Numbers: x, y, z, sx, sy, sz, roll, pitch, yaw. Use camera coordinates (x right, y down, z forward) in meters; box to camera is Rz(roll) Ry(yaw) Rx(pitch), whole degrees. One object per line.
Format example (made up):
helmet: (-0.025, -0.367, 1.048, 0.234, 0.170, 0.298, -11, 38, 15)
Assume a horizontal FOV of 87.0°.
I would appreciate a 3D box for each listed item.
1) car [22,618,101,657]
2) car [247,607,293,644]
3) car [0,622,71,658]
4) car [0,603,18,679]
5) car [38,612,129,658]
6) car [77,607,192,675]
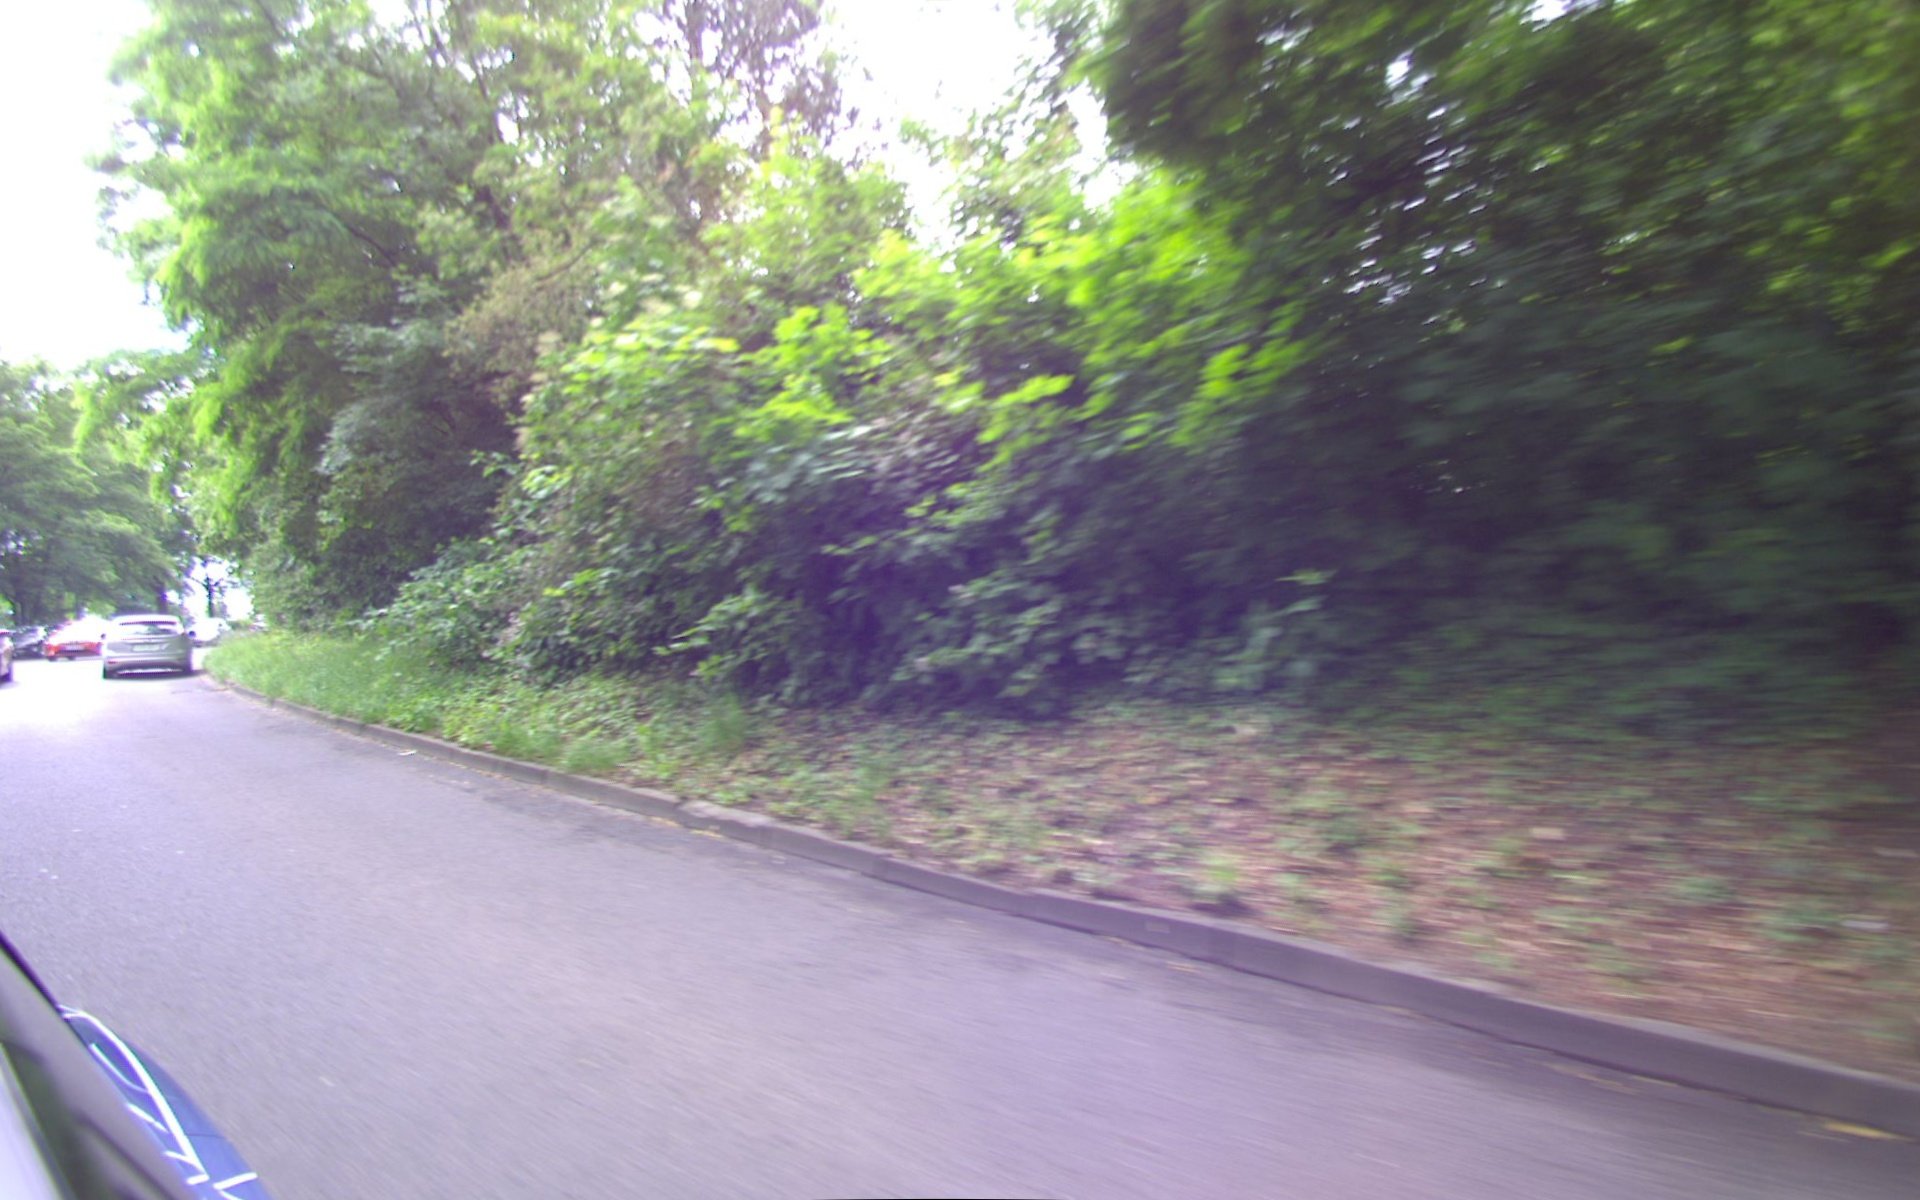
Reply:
car: (-40.367, 1.649, 45.572, 1.687, 1.522, 4.692, -2, 1, -29)
car: (-39.577, 1.427, 58.098, 1.797, 1.739, 4.325, -8, 5, -31)
car: (-38.021, 1.593, 41.261, 1.687, 1.265, 4.692, -2, 1, -29)
car: (-21.733, 0.899, 21.575, 1.973, 1.620, 4.687, -2, 1, -38)
car: (-31.726, 1.203, 36.756, 1.927, 1.483, 4.689, -2, 1, -34)
car: (-20.588, 0.974, 25.181, 4.001, 1.519, 1.774, -1, 0, 44)
